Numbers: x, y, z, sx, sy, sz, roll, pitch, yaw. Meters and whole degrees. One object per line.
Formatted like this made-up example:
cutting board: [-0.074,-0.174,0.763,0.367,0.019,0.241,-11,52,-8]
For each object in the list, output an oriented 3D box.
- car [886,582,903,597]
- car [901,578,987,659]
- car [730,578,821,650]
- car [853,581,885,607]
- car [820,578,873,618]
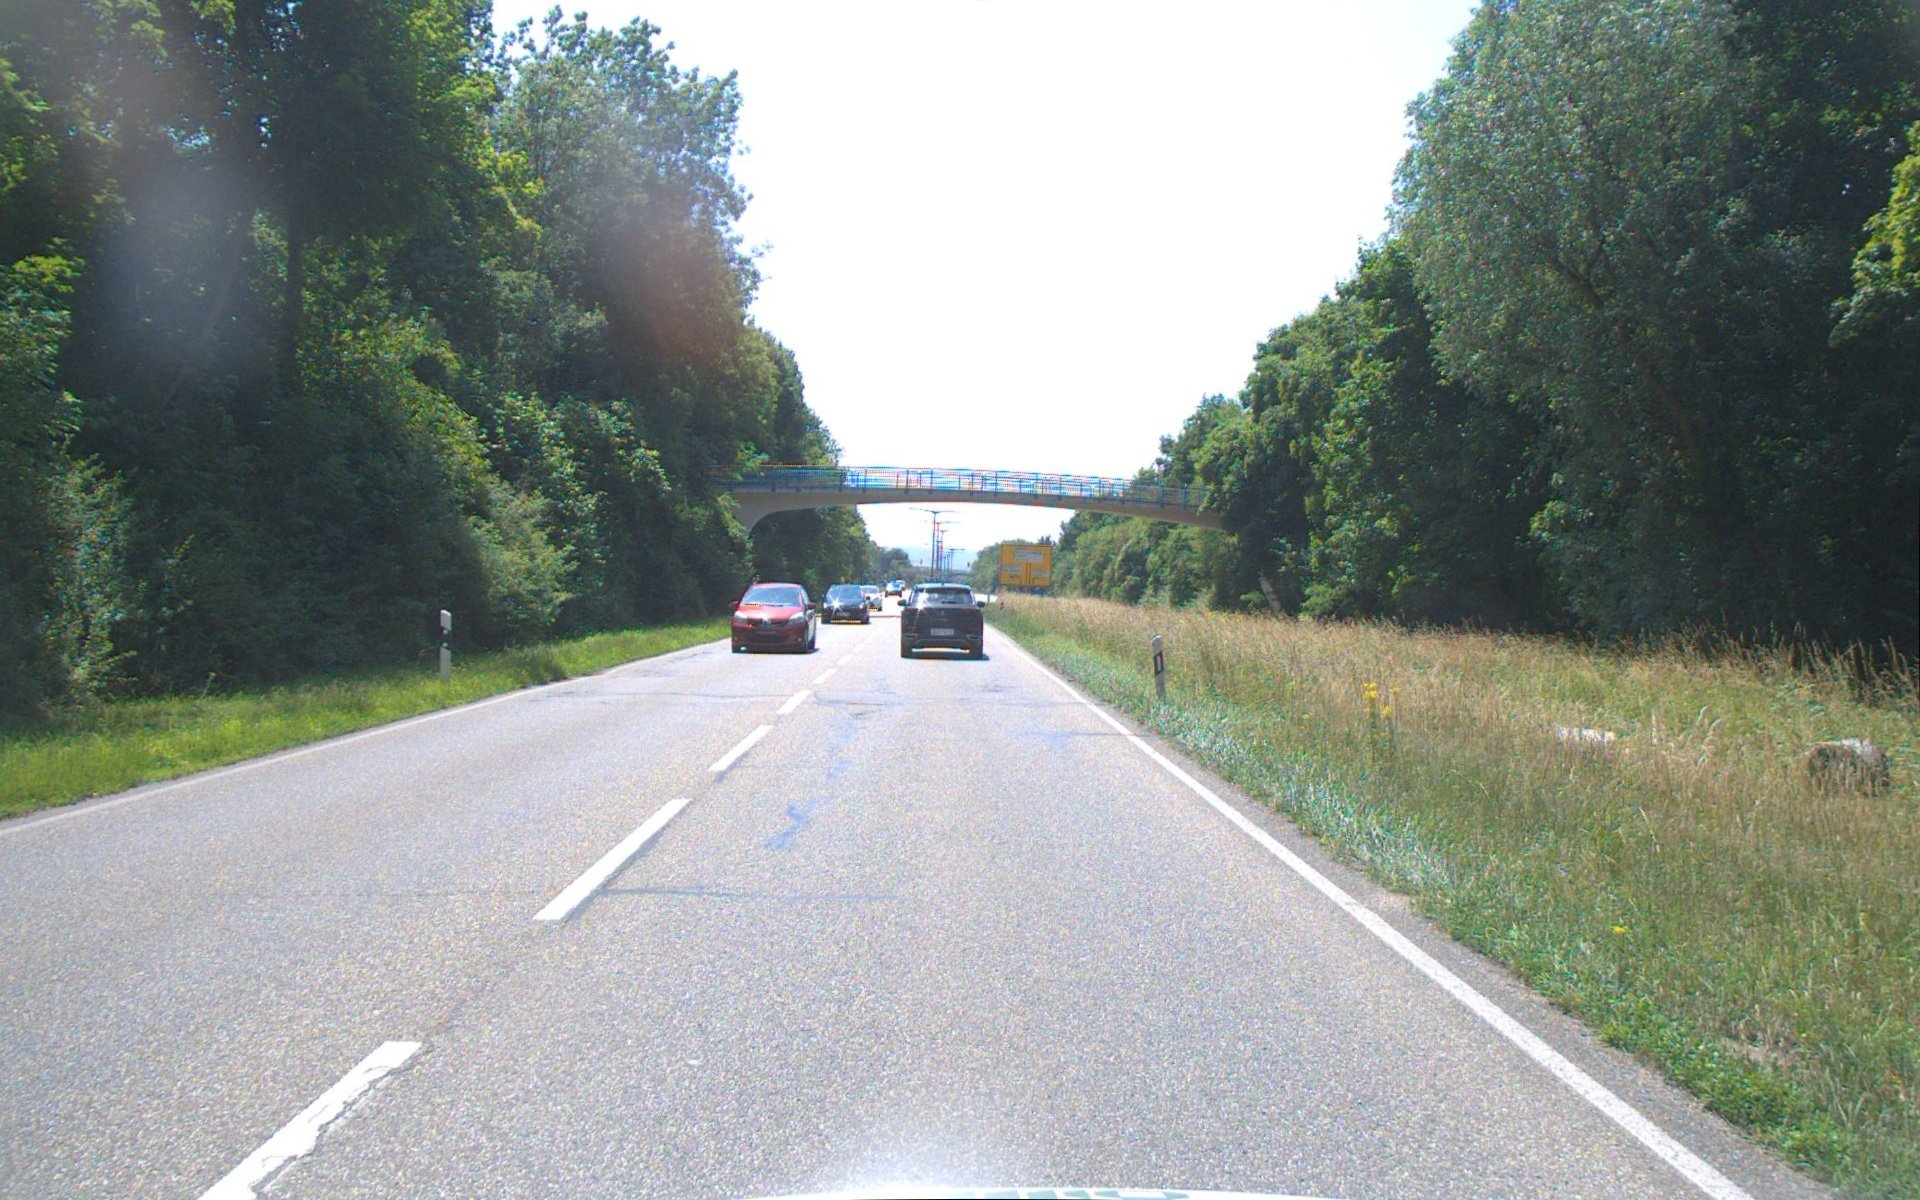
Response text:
car: [-7.477,-1.183,188.367,1.786,1.617,4.419,0,0,-1]
car: [-0.300,0.378,35.847,1.719,1.583,4.000,2,0,1]
car: [-4.088,0.281,37.171,1.648,1.519,3.999,0,1,-1]
car: [-5.341,-0.353,96.901,1.643,1.458,3.772,0,0,0]
car: [-4.367,-0.083,64.088,1.747,1.475,4.110,1,0,0]
